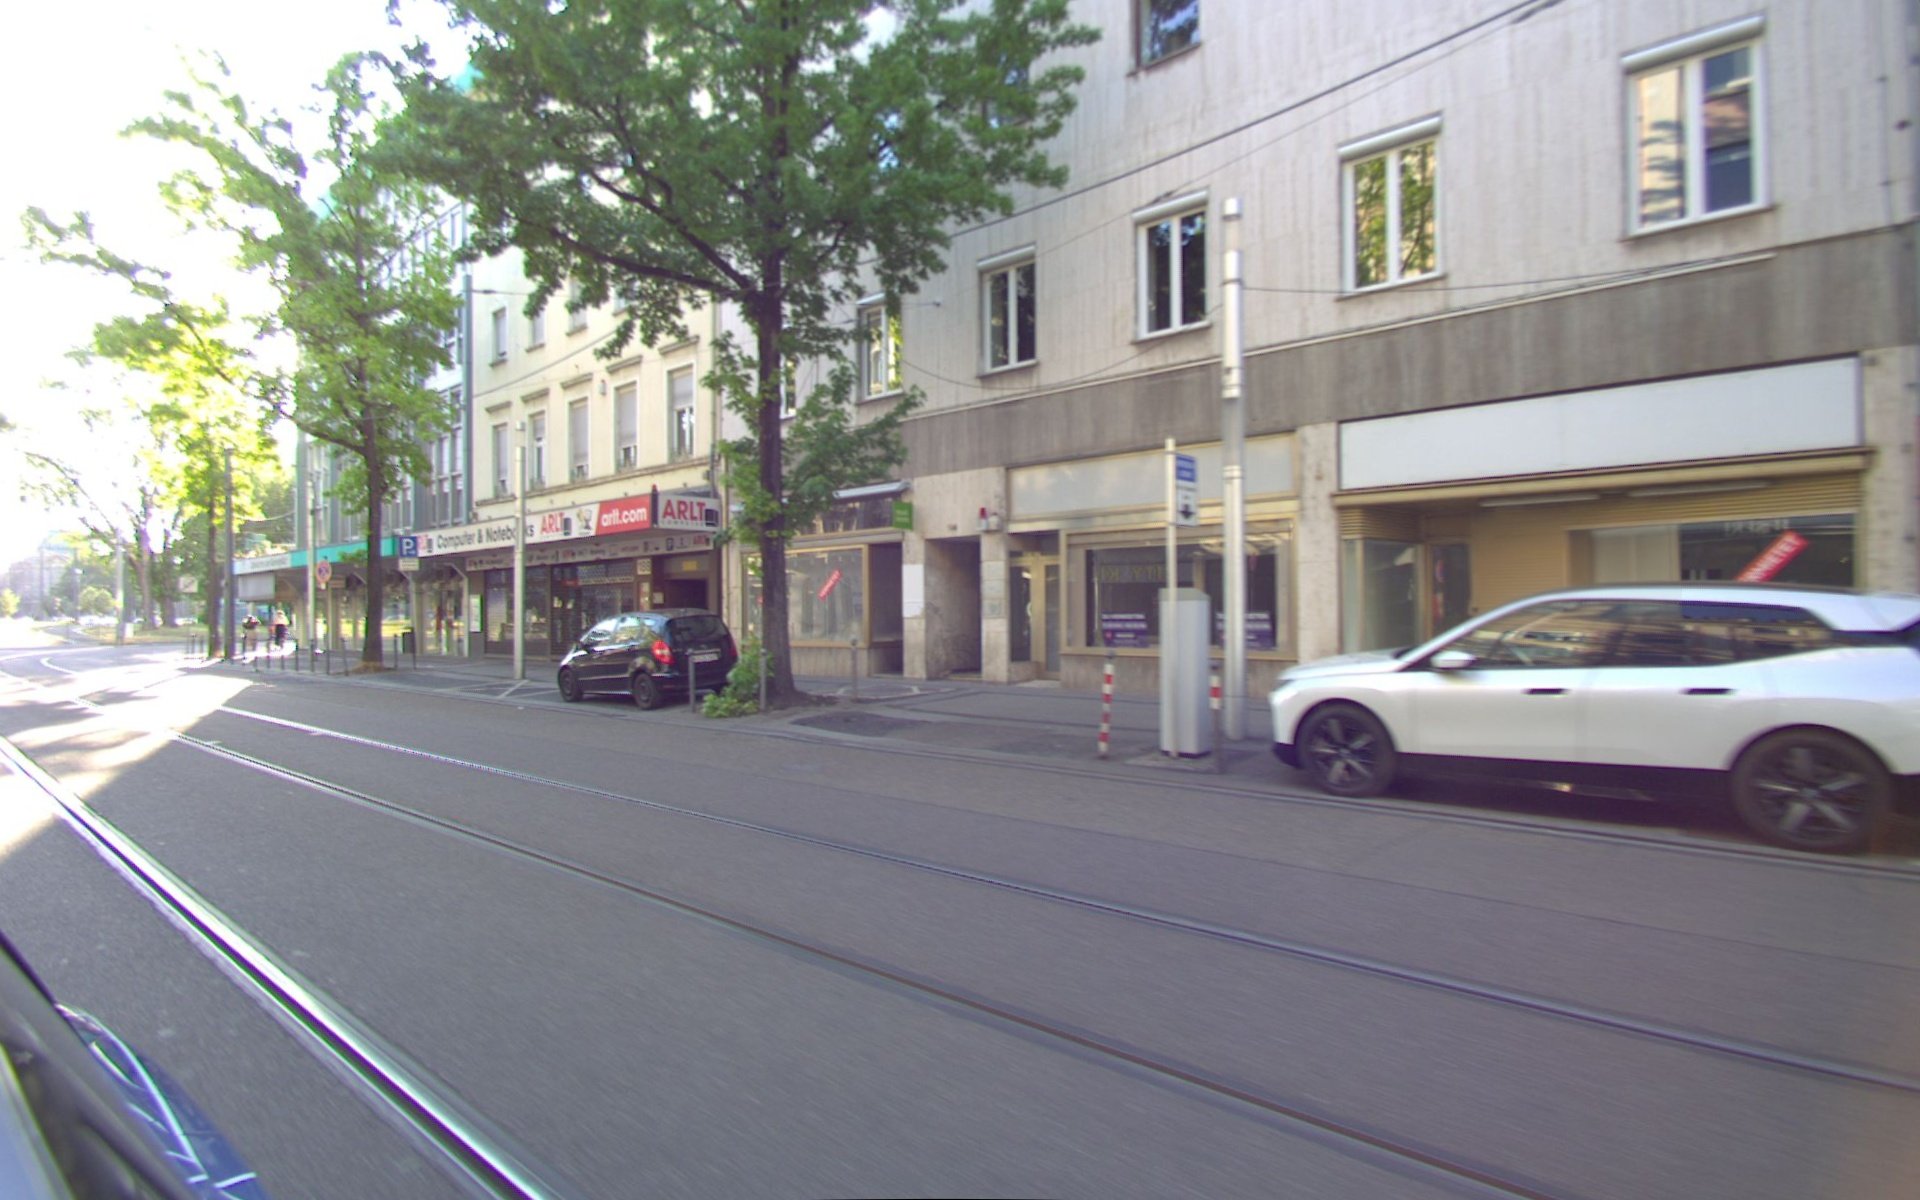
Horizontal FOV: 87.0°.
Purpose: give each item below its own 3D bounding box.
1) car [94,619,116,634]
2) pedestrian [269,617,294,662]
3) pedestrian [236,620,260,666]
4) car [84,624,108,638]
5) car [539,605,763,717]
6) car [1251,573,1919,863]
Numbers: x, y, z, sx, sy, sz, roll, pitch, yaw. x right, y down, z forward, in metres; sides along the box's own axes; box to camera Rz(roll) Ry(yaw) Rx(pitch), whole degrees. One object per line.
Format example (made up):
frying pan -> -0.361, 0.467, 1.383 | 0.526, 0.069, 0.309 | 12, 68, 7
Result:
car -> -123.215, 3.823, 145.826 | 4.000, 2.029, 1.972 | -1, -1, 43
pedestrian -> -31.179, 1.788, 46.501 | 0.734, 2.029, 0.788 | 0, 0, 43
pedestrian -> -32.169, 1.934, 45.722 | 0.734, 2.029, 0.788 | 0, 0, 43
car -> -130.912, 4.689, 153.296 | 4.544, 2.029, 1.973 | -1, 0, 40
car -> -5.511, 0.986, 17.833 | 3.999, 1.652, 1.941 | -1, 2, 42
car -> 4.979, 0.702, 7.910 | 4.812, 1.652, 1.941 | -1, 2, 43
